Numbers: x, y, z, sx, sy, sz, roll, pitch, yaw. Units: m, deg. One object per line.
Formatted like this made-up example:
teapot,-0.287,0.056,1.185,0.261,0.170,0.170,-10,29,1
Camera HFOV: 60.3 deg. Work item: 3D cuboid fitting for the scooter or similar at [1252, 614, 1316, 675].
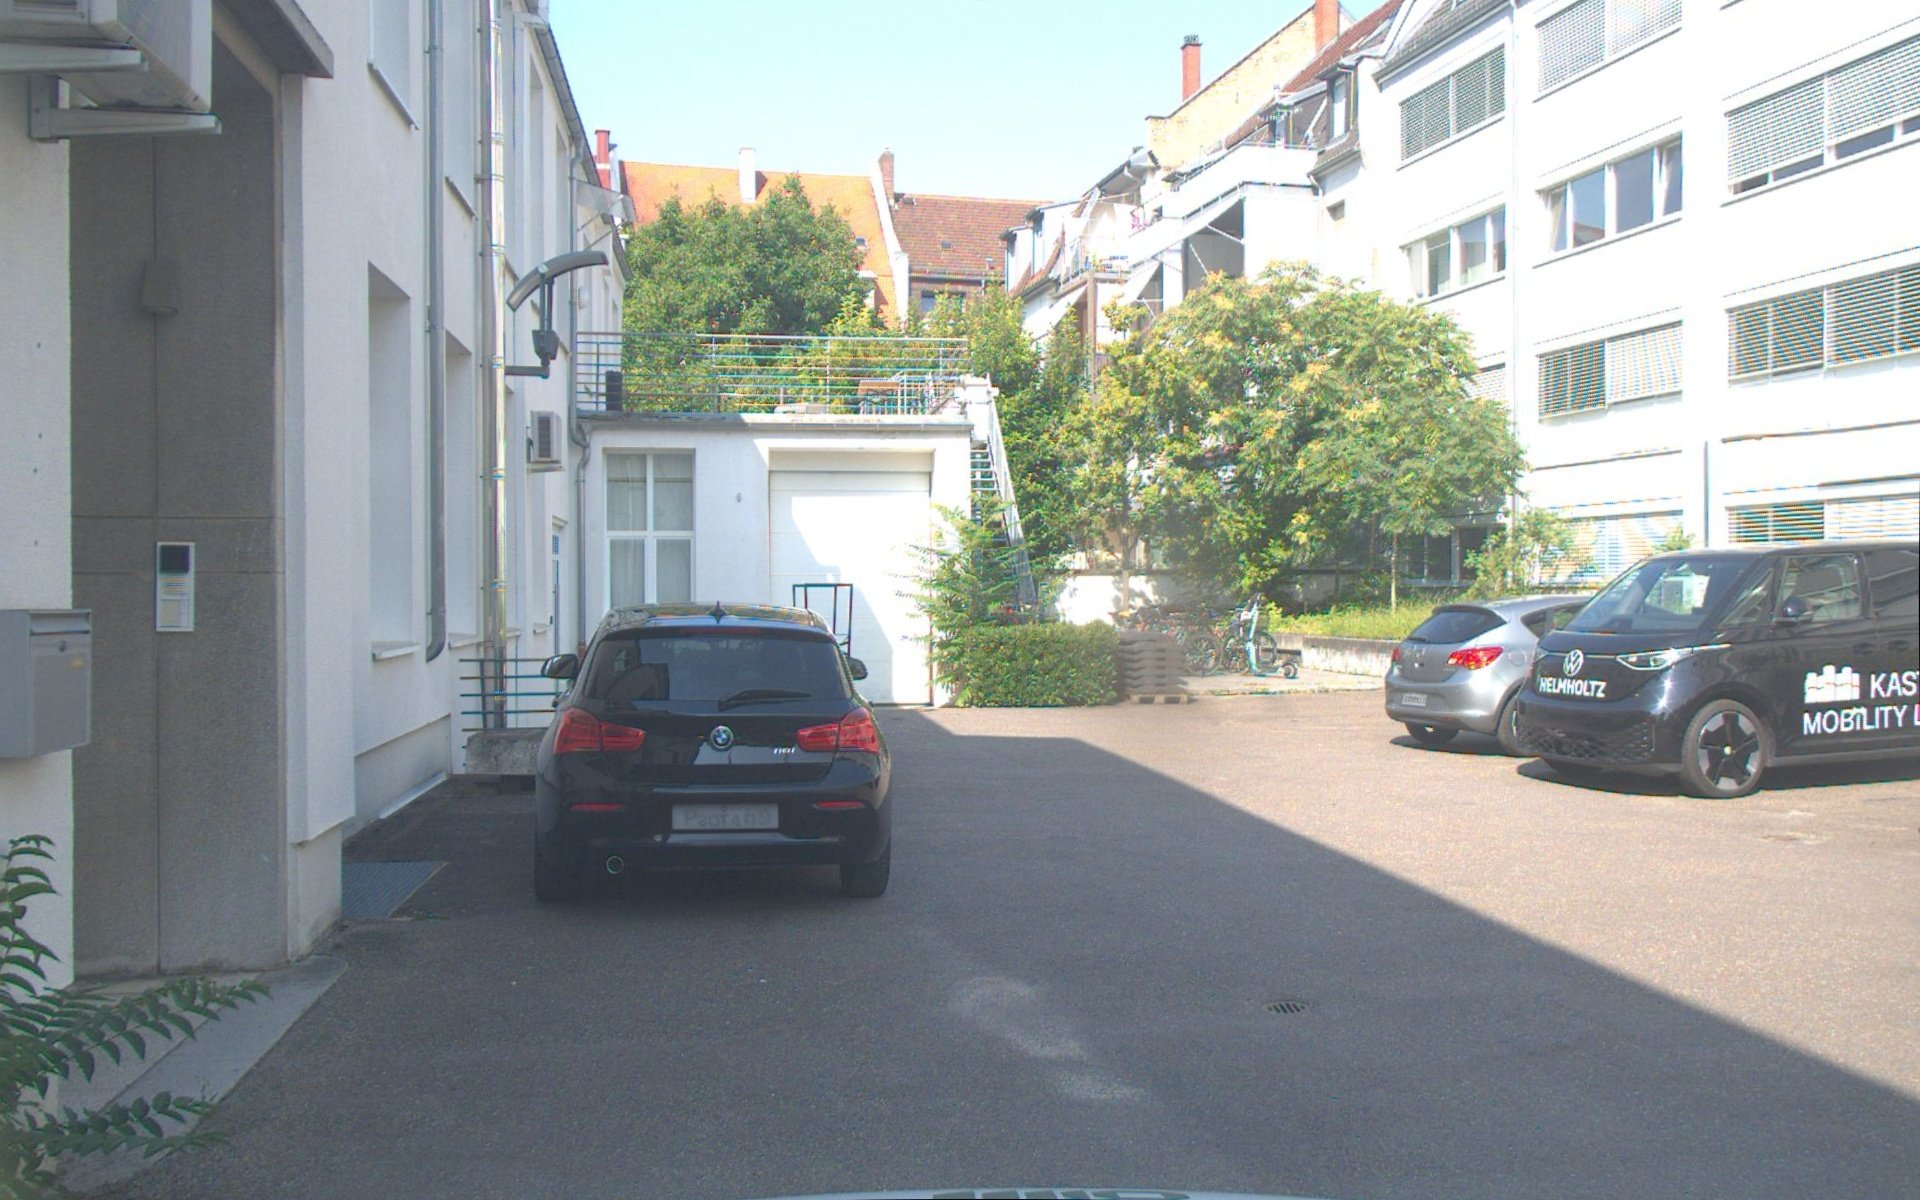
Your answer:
scooter or similar,5.214,0.712,26.611,0.983,0.940,0.358,1,0,45

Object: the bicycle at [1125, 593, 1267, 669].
bicycle,4.046,0.527,28.387,2.366,1.268,0.525,0,0,-9

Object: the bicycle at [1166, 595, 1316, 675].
bicycle,4.588,0.568,27.023,2.366,1.268,0.525,0,0,-9

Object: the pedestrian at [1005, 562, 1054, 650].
pedestrian,1.445,0.115,34.430,0.606,1.802,0.847,0,0,-43

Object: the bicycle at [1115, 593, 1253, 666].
bicycle,3.938,0.516,29.100,2.366,1.268,0.525,0,0,-9

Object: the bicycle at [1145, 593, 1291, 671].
bicycle,4.303,0.532,27.638,2.366,1.268,0.525,0,0,-9

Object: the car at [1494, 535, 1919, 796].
car,6.784,0.435,13.619,4.267,1.891,1.905,-1,1,-18

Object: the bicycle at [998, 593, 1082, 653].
bicycle,1.671,0.459,34.329,1.978,1.163,0.482,-2,2,-43

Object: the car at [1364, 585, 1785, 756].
car,6.120,0.626,16.476,3.841,1.491,1.652,-1,1,-22

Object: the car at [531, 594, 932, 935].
car,-1.366,0.710,9.367,1.760,1.453,4.126,0,0,-11

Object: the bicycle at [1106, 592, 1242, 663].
bicycle,3.843,0.493,29.717,2.366,1.268,0.525,0,0,-9
